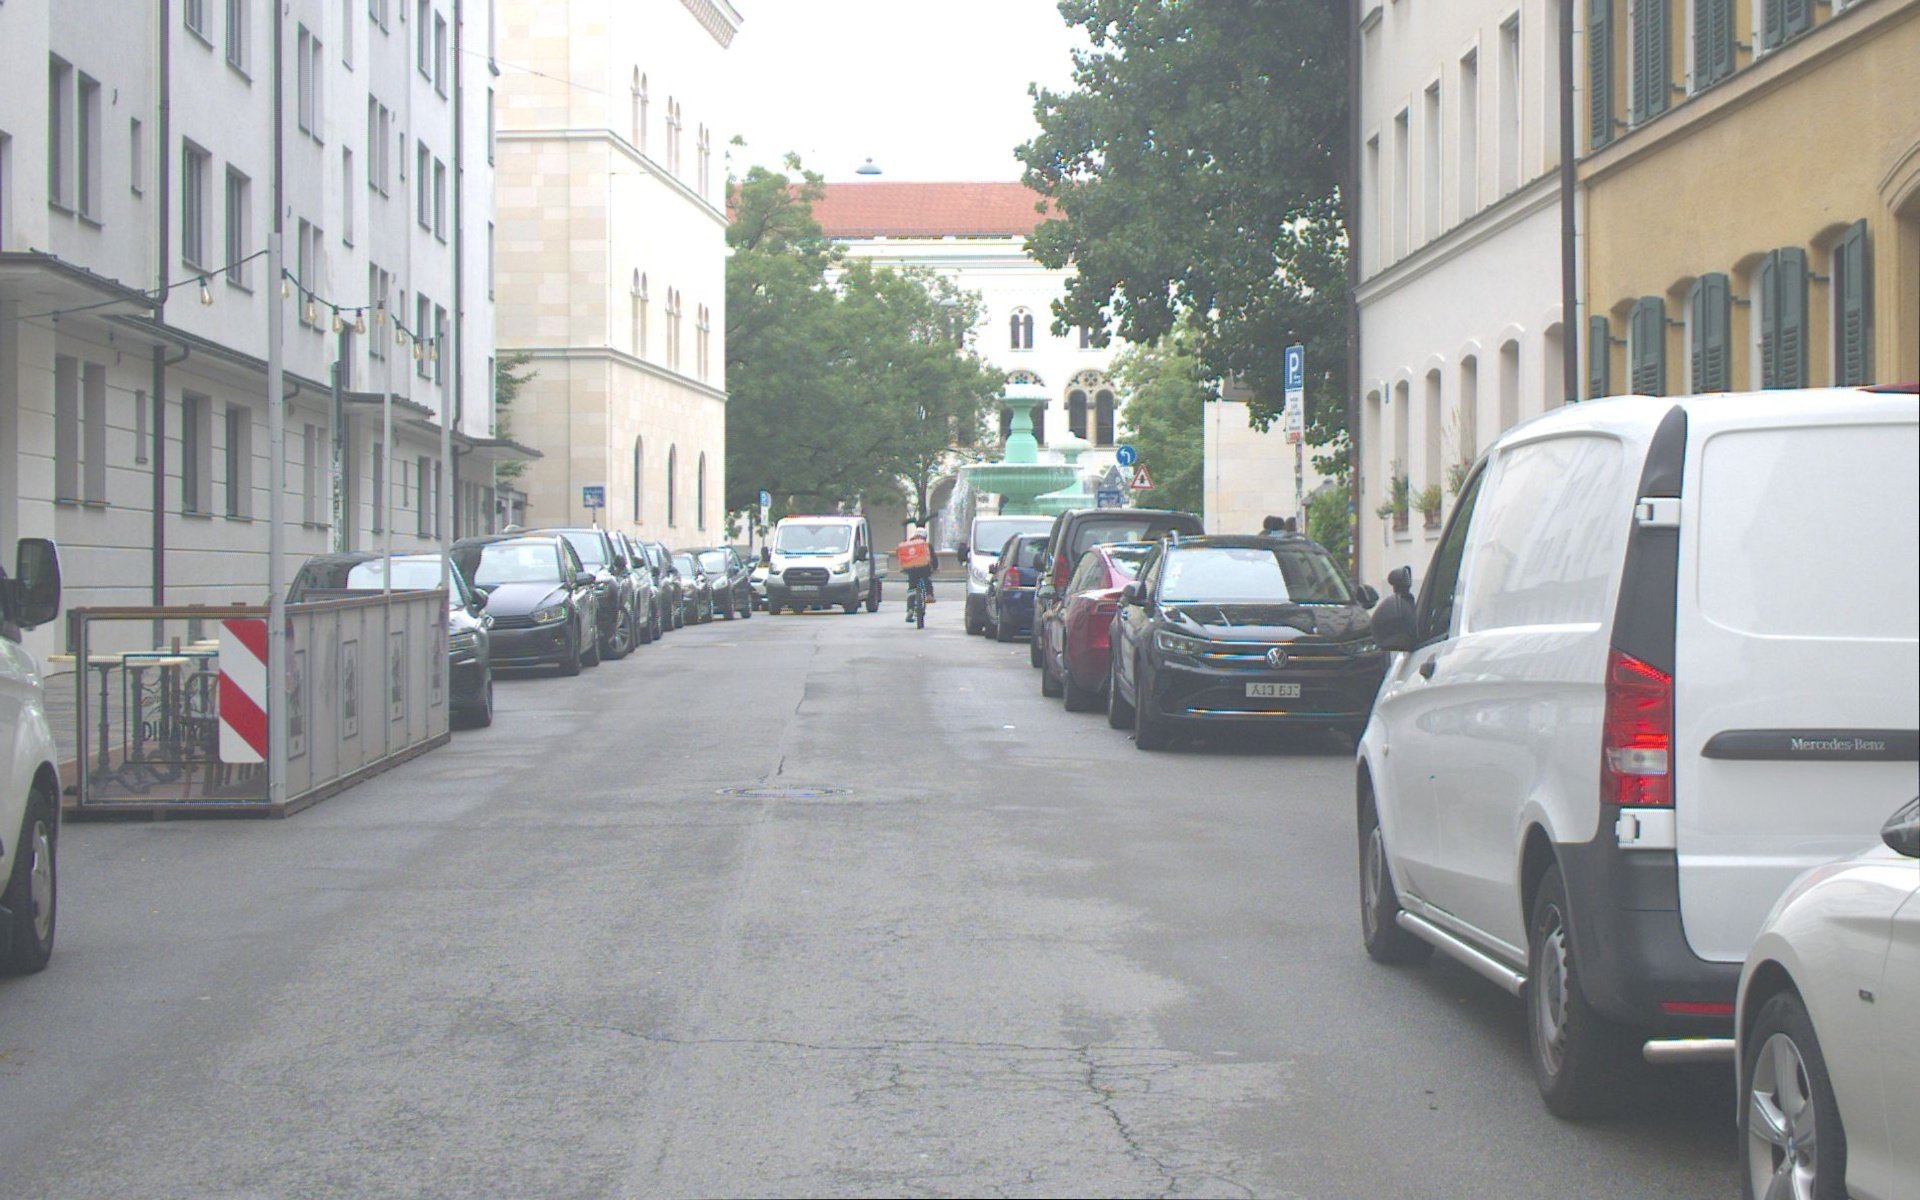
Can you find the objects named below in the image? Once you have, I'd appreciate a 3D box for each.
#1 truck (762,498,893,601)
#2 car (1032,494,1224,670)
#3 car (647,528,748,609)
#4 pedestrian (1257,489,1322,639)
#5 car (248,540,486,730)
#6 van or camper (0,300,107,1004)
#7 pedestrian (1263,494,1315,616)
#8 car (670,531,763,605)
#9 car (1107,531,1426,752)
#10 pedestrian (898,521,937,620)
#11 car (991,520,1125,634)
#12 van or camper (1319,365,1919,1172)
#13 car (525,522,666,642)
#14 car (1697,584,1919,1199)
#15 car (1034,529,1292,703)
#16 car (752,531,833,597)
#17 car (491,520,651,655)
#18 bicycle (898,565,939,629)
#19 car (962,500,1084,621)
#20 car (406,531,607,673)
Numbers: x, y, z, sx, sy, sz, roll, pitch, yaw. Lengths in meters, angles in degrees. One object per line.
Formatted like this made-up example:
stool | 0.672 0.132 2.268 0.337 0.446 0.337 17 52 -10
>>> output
truck | -2.984 -1.132 78.849 2.121 2.239 6.184 -1 0 6
car | 1.774 -0.222 37.438 1.811 1.791 4.247 1 1 -1
car | -5.468 -0.686 71.902 1.706 1.604 3.863 -2 1 1
pedestrian | 4.454 -0.484 46.551 0.669 1.974 0.708 -4 0 -1
car | -4.875 0.235 28.528 1.761 1.406 4.157 -2 1 -9
van or camper | -3.938 0.190 10.053 1.754 2.273 5.274 0 1 -2
pedestrian | 5.484 -0.747 57.341 0.669 1.974 0.708 -4 0 -1
car | -5.488 -0.750 77.839 1.706 1.575 3.863 -2 1 1
car | 2.133 0.242 25.013 1.811 1.459 4.247 1 1 -2
pedestrian | -0.740 -0.520 60.219 0.642 1.708 0.843 -1 0 -1
car | 1.421 -0.369 51.285 1.811 1.609 4.156 -1 1 -1
van or camper | 2.327 0.332 10.504 1.833 1.865 5.079 0 1 -1
car | -5.188 -0.279 49.276 1.706 1.604 3.863 -2 1 -2
car | 2.534 0.698 5.212 1.708 1.387 4.207 0 1 -3
car | 1.718 0.098 30.425 1.811 1.420 4.247 1 1 -3
car | -4.191 -0.914 86.476 1.706 1.575 3.863 -2 1 1
car | -4.933 -0.189 44.025 1.706 1.604 3.863 -2 1 -2
bicycle | -0.724 -0.054 60.211 0.675 1.091 1.760 -1 0 -1
car | 1.011 -0.667 57.315 1.851 1.913 4.769 -1 1 -1
car | -4.985 -0.016 38.208 1.817 1.439 3.819 -2 1 -2
